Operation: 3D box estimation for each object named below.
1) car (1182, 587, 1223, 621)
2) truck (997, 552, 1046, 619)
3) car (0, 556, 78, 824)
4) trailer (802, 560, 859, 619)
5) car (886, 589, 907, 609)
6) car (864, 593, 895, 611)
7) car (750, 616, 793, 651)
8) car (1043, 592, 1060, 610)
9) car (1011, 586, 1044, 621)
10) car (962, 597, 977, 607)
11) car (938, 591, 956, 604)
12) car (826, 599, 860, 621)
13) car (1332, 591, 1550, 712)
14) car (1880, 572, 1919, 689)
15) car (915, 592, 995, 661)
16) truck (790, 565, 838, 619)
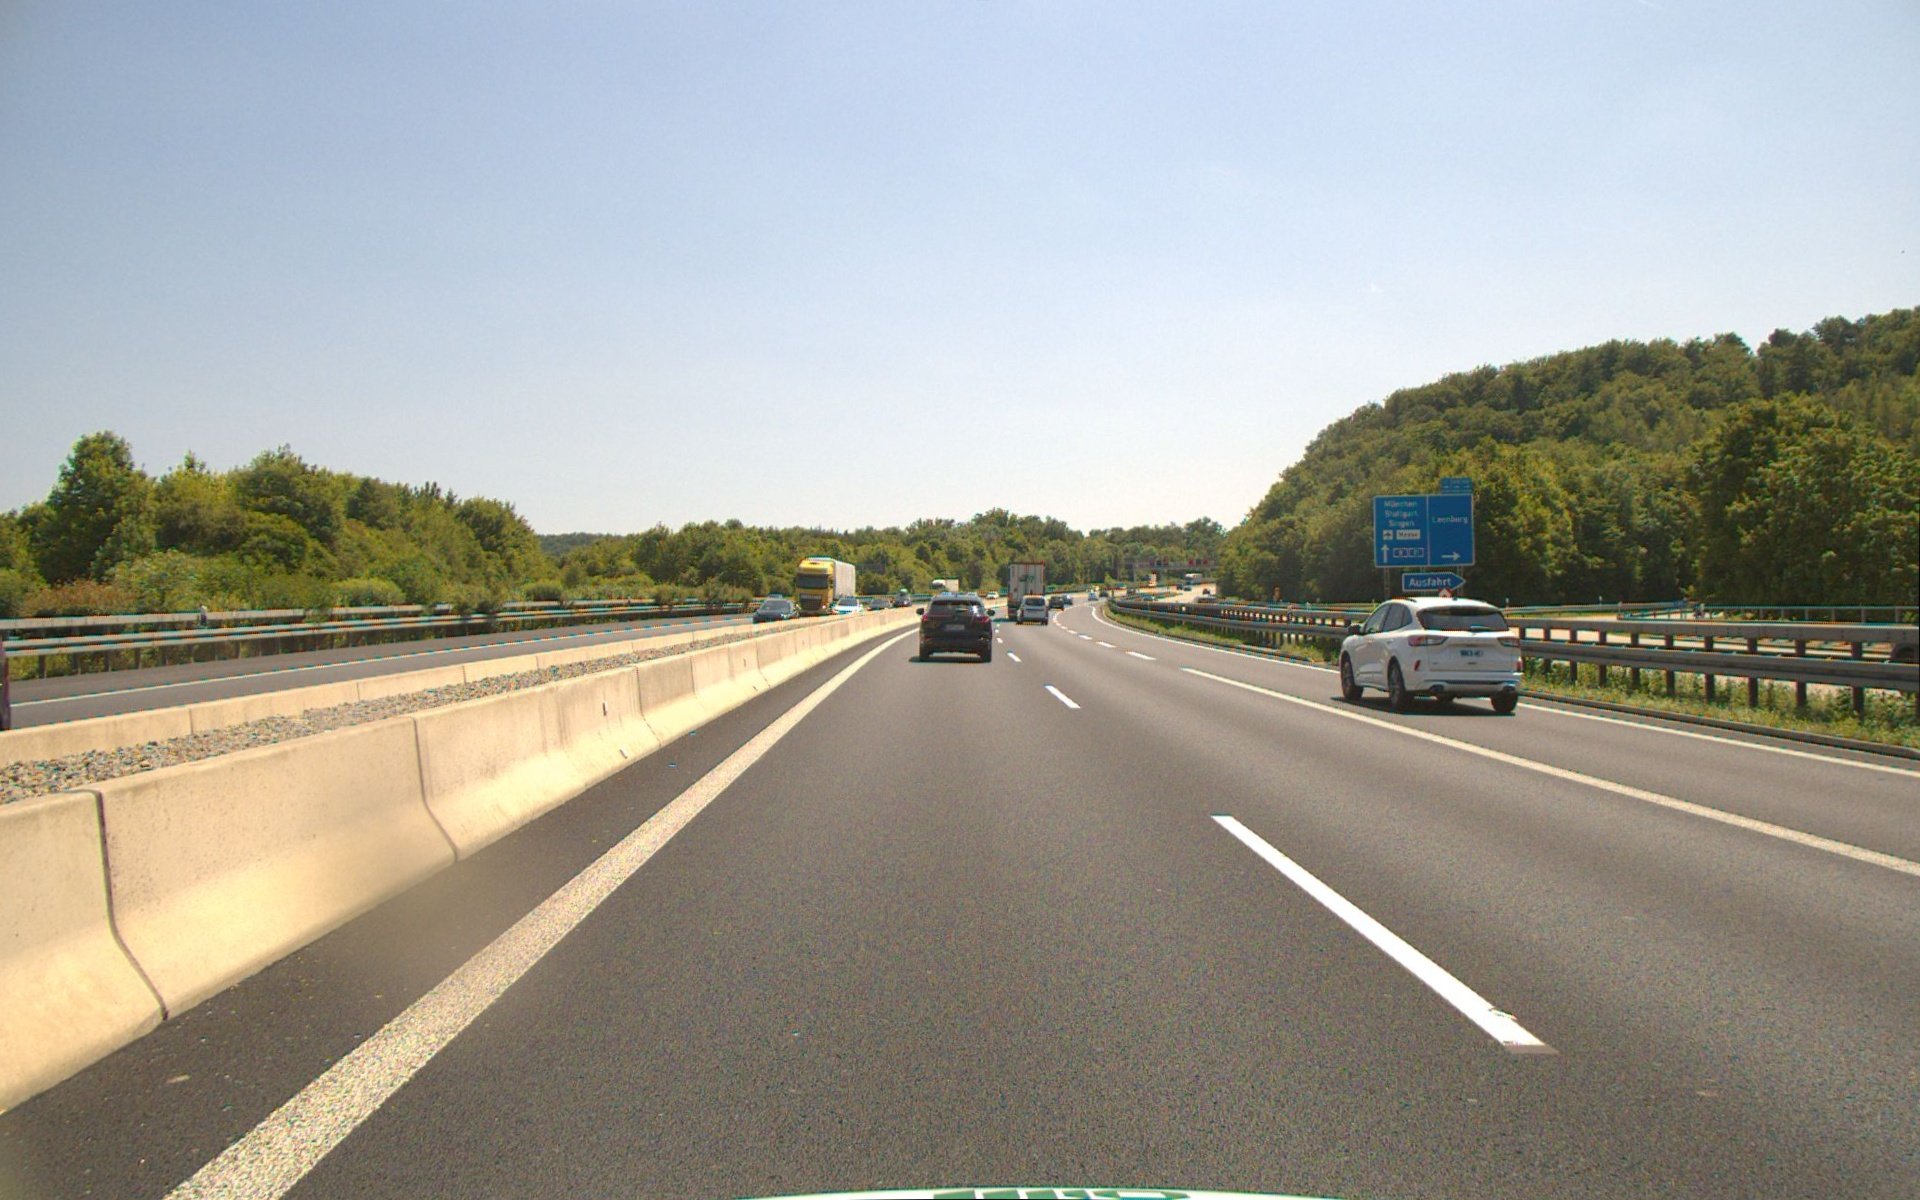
[{"bbox_3d":[15.081,0.252,103.033,1.953,2.049,4.000,-1,0,0],"label":"car"},{"bbox_3d":[4.511,-0.953,118.543,2.968,4.496,12.025,1,0,5],"label":"truck"},{"bbox_3d":[-8.286,0.668,11.251,2.009,2.049,4.953,1,0,-2],"label":"car"},{"bbox_3d":[-10.116,-0.769,130.258,2.661,4.387,12.829,1,0,3],"label":"trailer"},{"bbox_3d":[-6.876,-0.134,180.189,1.952,2.117,4.704,0,0,1],"label":"car"},{"bbox_3d":[-6.203,0.168,128.541,1.952,1.373,4.260,1,0,3],"label":"car"},{"bbox_3d":[-8.807,1.537,77.418,1.694,1.563,4.610,1,0,-3],"label":"car"},{"bbox_3d":[10.329,0.132,186.774,1.952,2.049,4.002,1,0,3],"label":"car"},{"bbox_3d":[4.224,0.201,103.987,1.952,2.049,4.001,-2,0,2],"label":"car"},{"bbox_3d":[1.464,0.286,256.079,1.952,1.570,5.043,1,0,3],"label":"car"},{"bbox_3d":[-1.792,-0.352,225.923,1.829,1.695,4.667,1,0,7],"label":"car"},{"bbox_3d":[-7.626,0.638,107.956,1.953,1.398,4.662,0,0,-1],"label":"car"},{"bbox_3d":[7.328,0.743,25.707,1.953,1.691,4.466,1,0,-2],"label":"car"},{"bbox_3d":[14.982,0.444,22.106,1.954,1.691,5.622,1,0,-4],"label":"car"},{"bbox_3d":[-0.161,0.637,41.288,1.744,1.605,3.997,1,0,-4],"label":"car"},{"bbox_3d":[-10.678,-0.559,121.397,2.691,3.820,4.868,1,0,4],"label":"truck"}]
